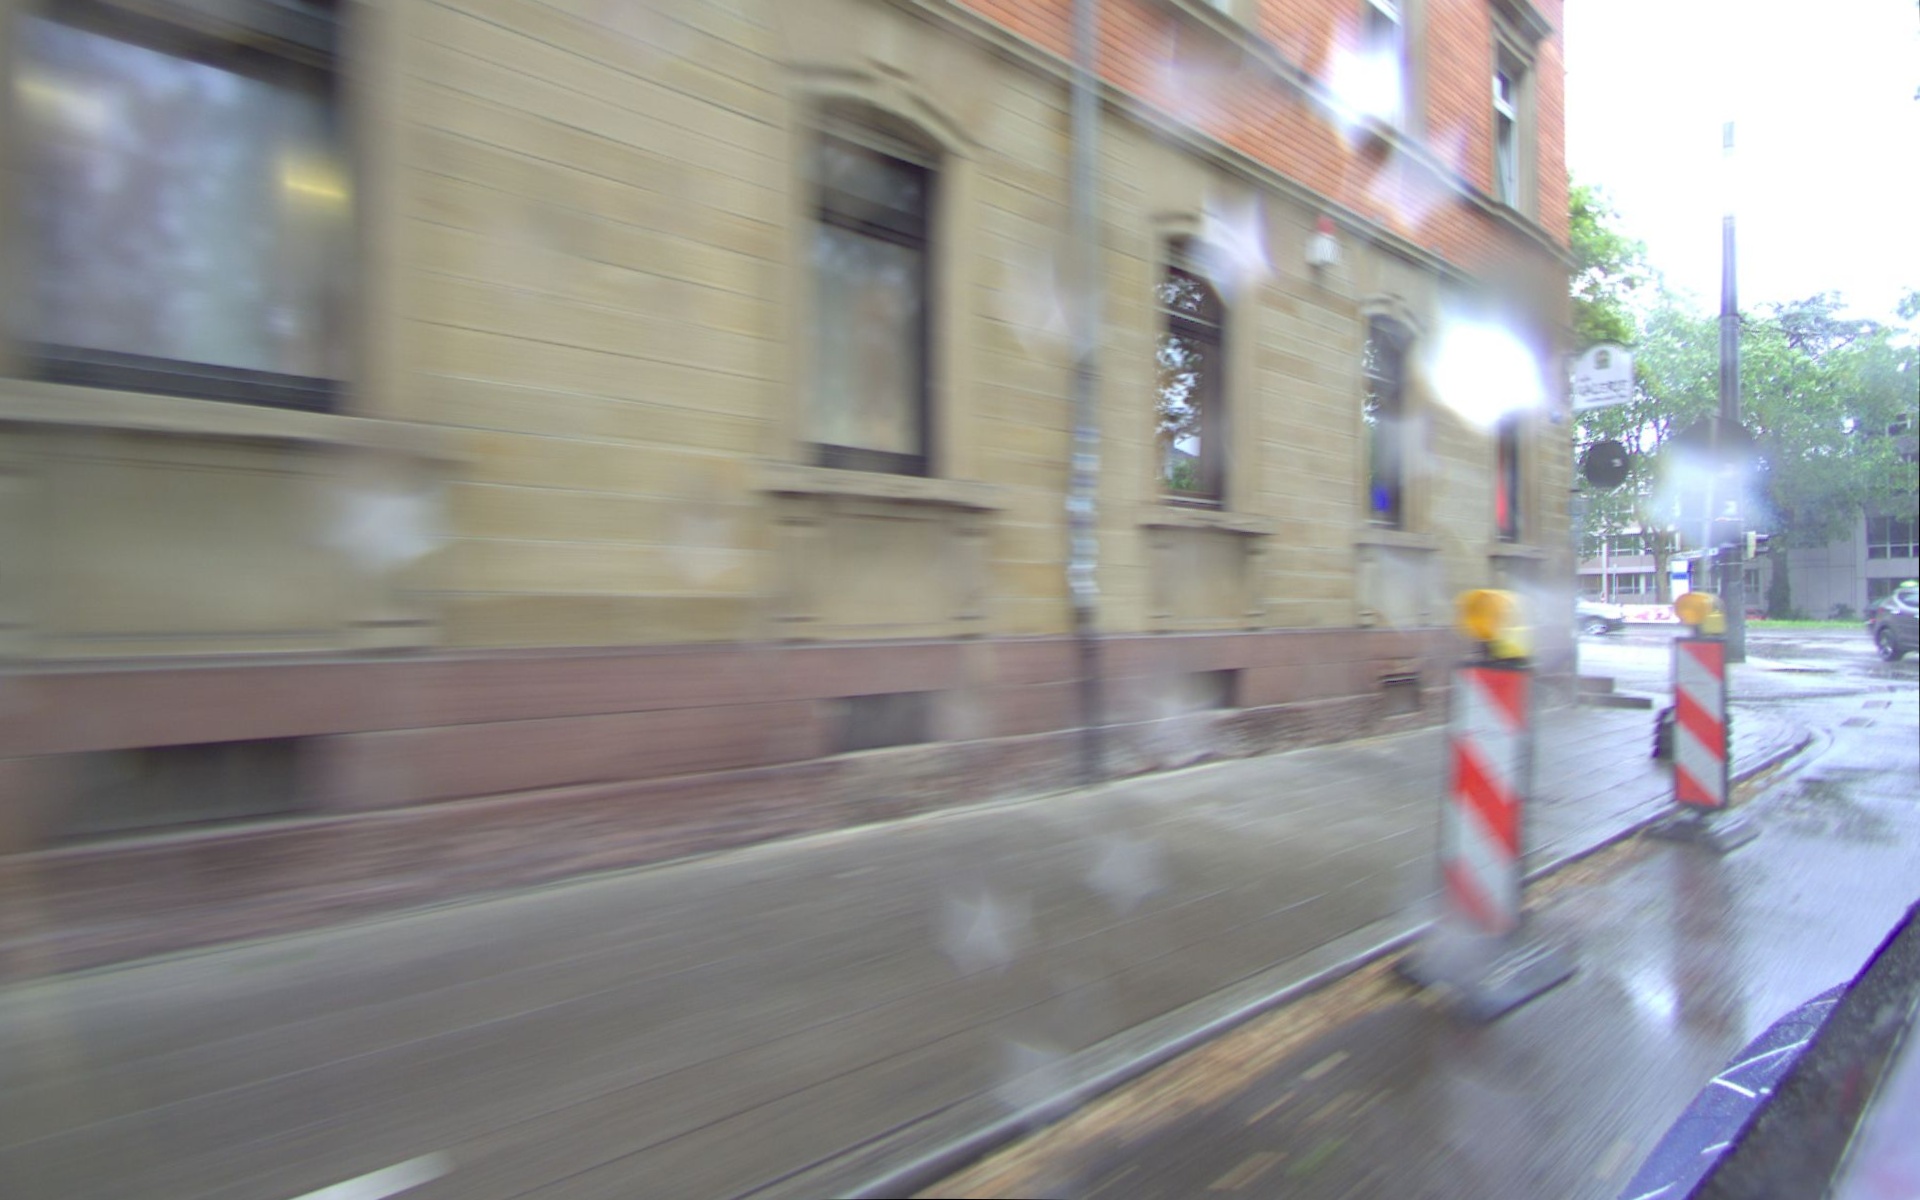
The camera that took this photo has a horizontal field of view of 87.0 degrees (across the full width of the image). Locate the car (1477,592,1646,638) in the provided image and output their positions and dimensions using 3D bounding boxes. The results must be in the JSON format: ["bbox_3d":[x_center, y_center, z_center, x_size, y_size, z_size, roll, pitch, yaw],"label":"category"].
[{"bbox_3d":[22.710,0.559,38.356,5.307,1.613,1.922,-1,-1,38],"label":"car"}]

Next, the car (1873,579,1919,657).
[{"bbox_3d":[21.475,0.389,21.107,1.889,1.667,4.651,-1,1,19],"label":"car"}]

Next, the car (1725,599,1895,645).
[{"bbox_3d":[30.695,0.767,36.740,4.527,1.532,1.765,-1,1,35],"label":"car"}]

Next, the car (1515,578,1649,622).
[{"bbox_3d":[25.161,0.014,40.980,4.527,1.680,1.765,-1,1,35],"label":"car"}]

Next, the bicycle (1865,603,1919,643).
[{"bbox_3d":[28.641,0.707,30.482,1.990,1.101,0.807,4,4,40],"label":"bicycle"}]
